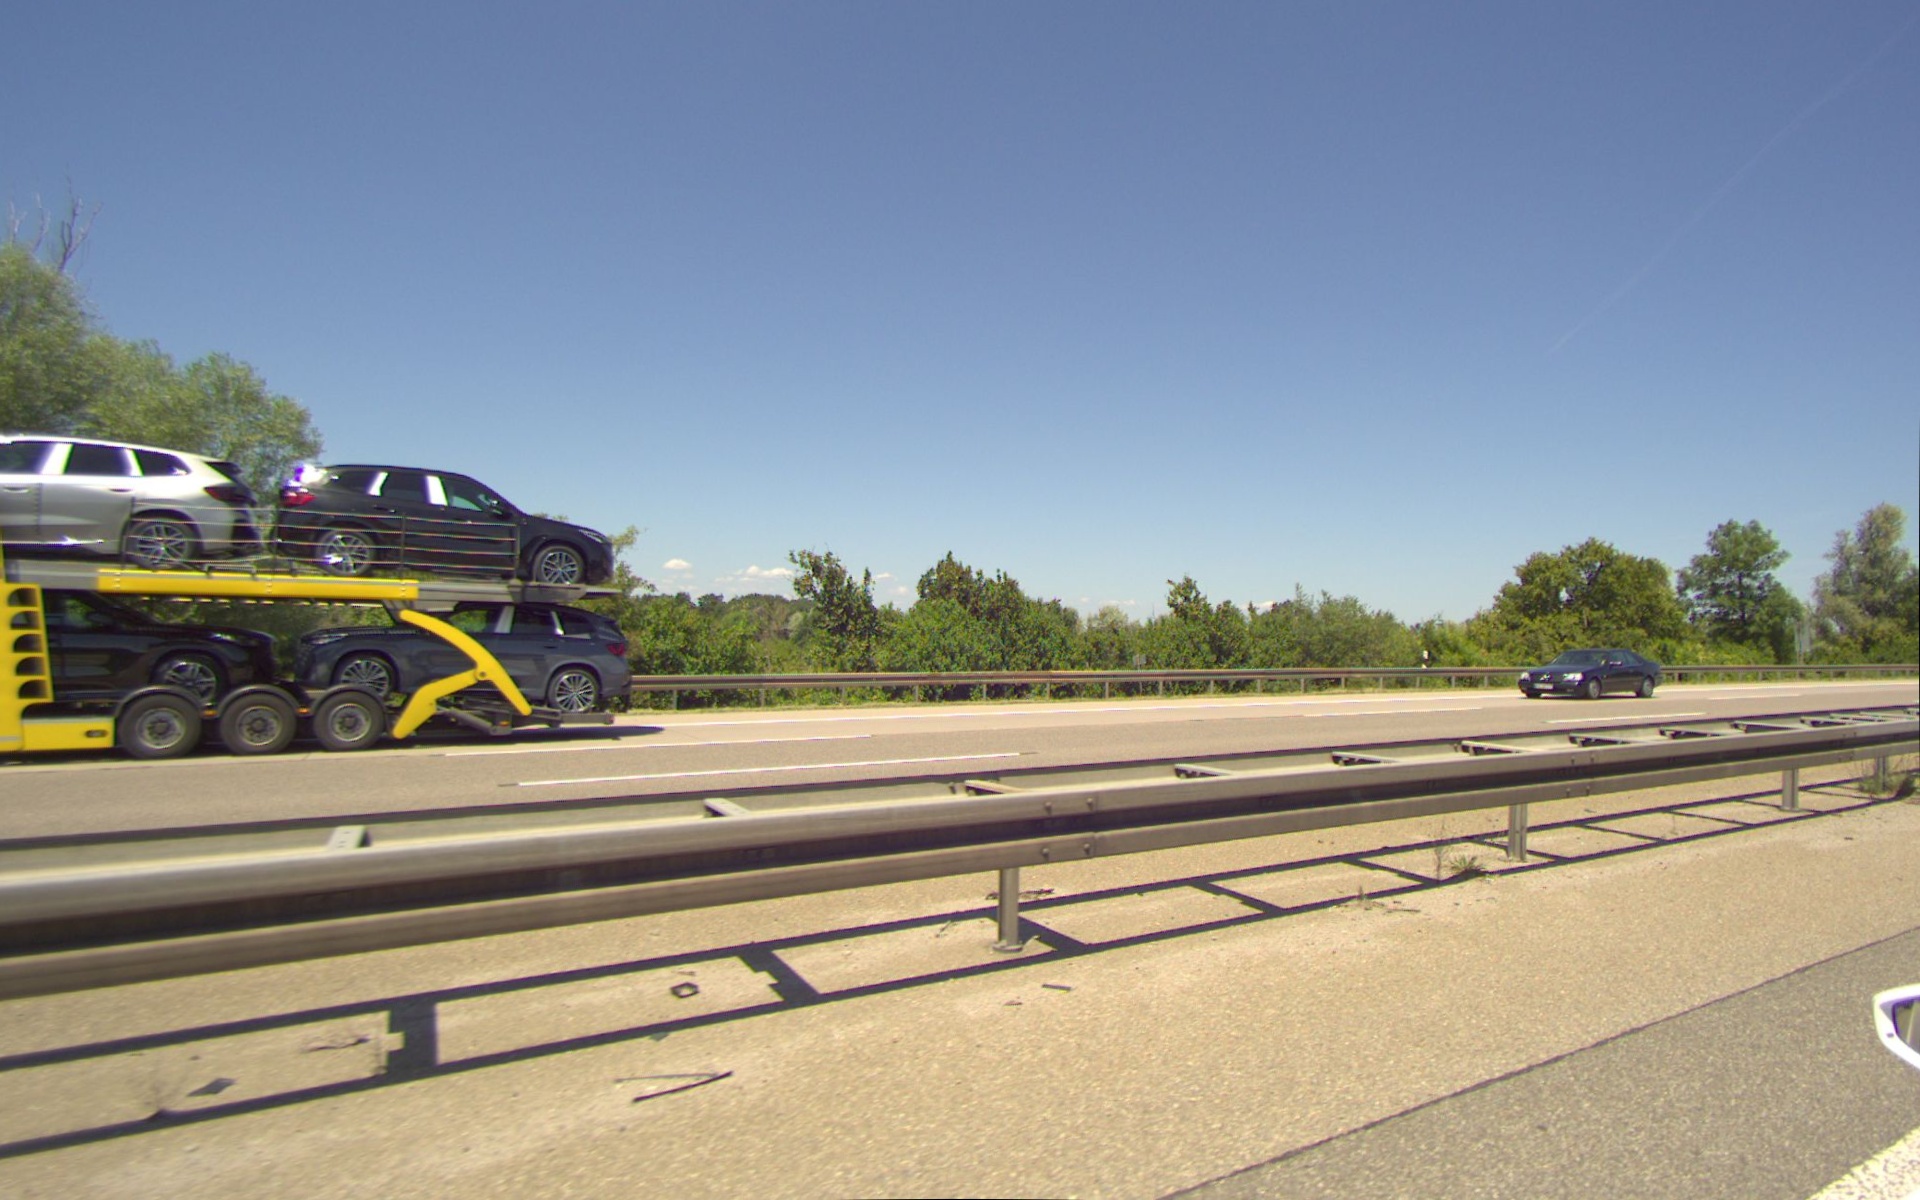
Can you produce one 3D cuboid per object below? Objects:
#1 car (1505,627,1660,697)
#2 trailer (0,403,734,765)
[{"bbox_3d":[18.204,1.828,29.345,4.530,1.896,1.984,2,-5,-32],"label":"car"},{"bbox_3d":[-9.158,-0.055,13.746,11.515,4.019,2.908,2,-3,-31],"label":"trailer"}]
